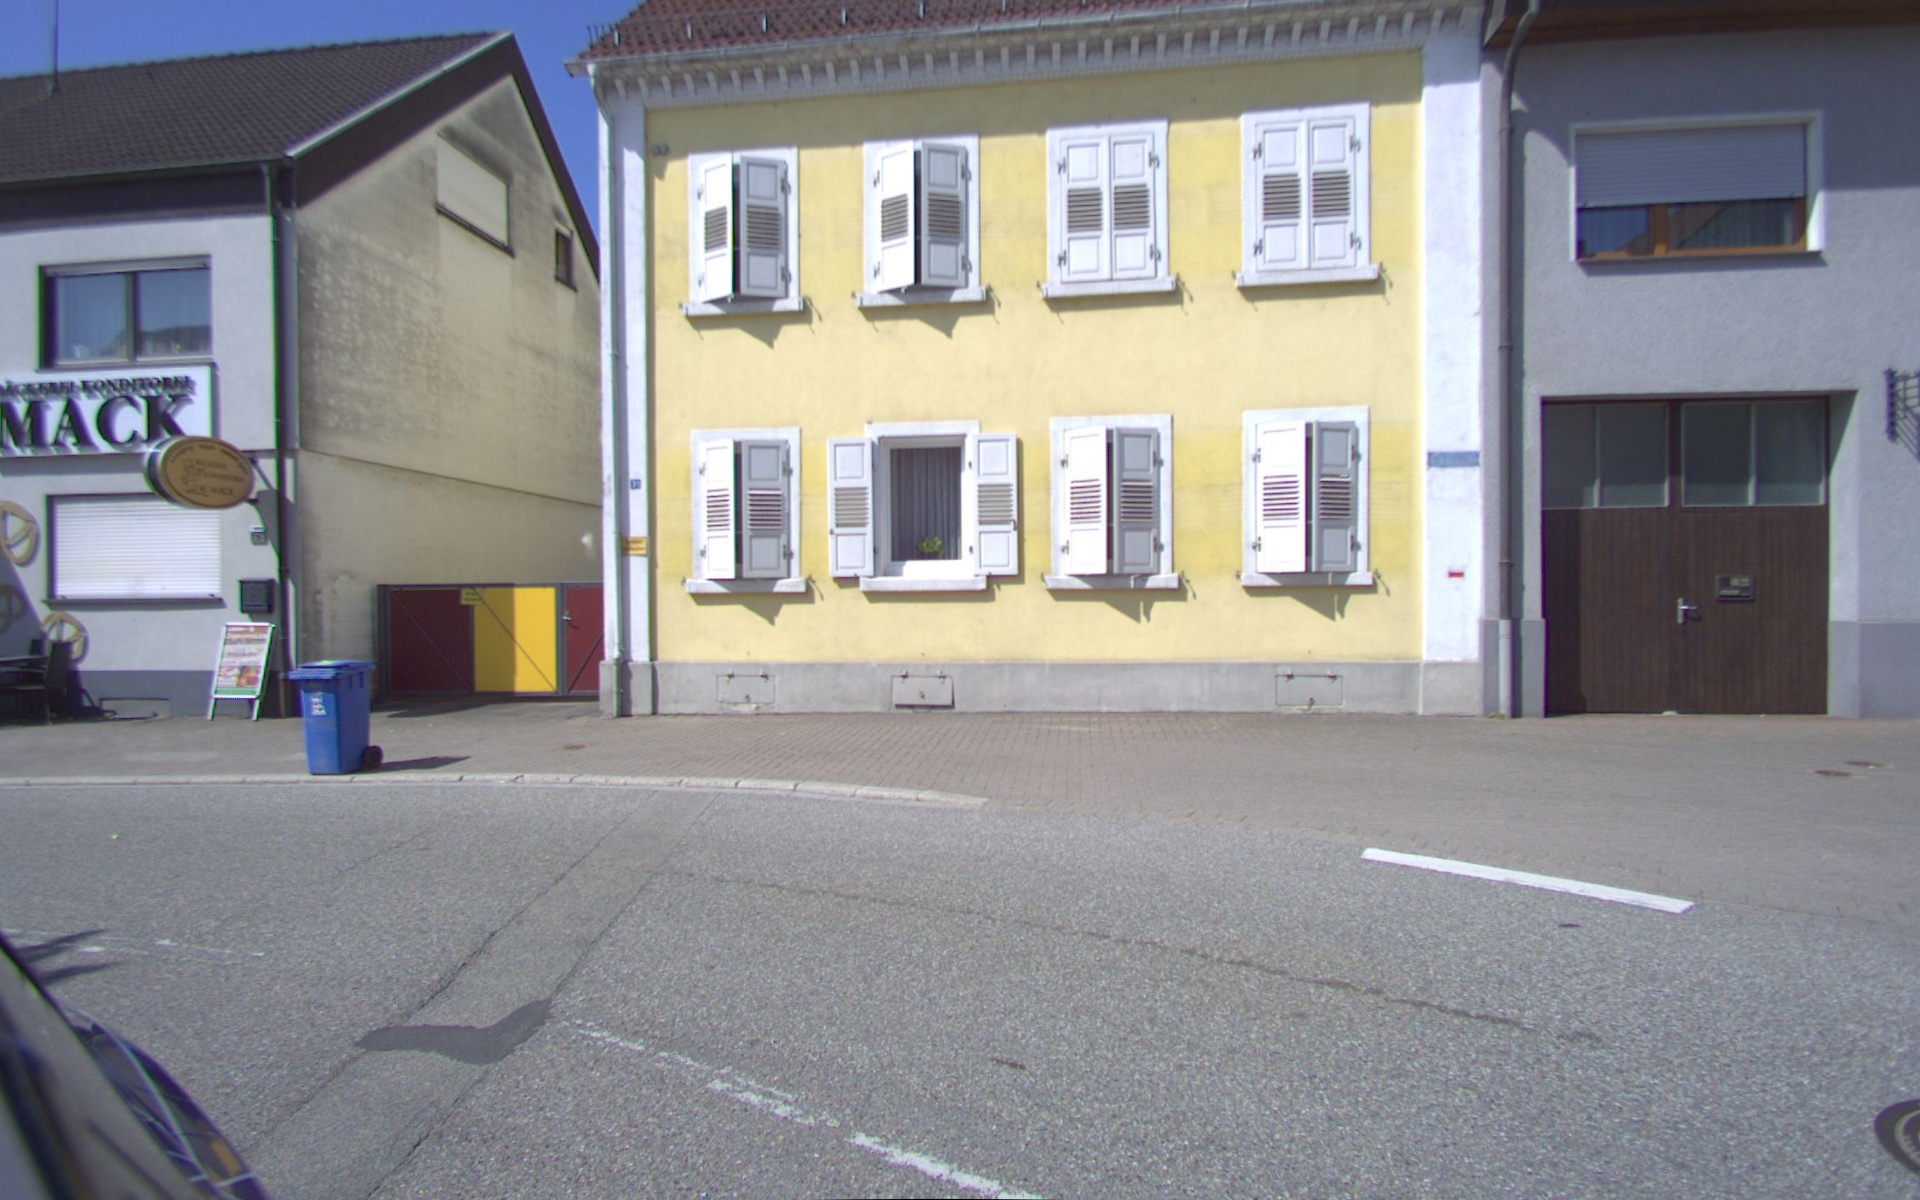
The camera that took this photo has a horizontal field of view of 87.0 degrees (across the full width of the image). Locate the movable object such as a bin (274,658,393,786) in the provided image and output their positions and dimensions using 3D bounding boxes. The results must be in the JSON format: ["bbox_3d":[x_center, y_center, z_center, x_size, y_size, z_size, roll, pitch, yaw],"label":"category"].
[{"bbox_3d":[-5.277,1.009,8.556,0.605,0.988,0.645,-1,0,-1],"label":"movable object such as a bin"}]
